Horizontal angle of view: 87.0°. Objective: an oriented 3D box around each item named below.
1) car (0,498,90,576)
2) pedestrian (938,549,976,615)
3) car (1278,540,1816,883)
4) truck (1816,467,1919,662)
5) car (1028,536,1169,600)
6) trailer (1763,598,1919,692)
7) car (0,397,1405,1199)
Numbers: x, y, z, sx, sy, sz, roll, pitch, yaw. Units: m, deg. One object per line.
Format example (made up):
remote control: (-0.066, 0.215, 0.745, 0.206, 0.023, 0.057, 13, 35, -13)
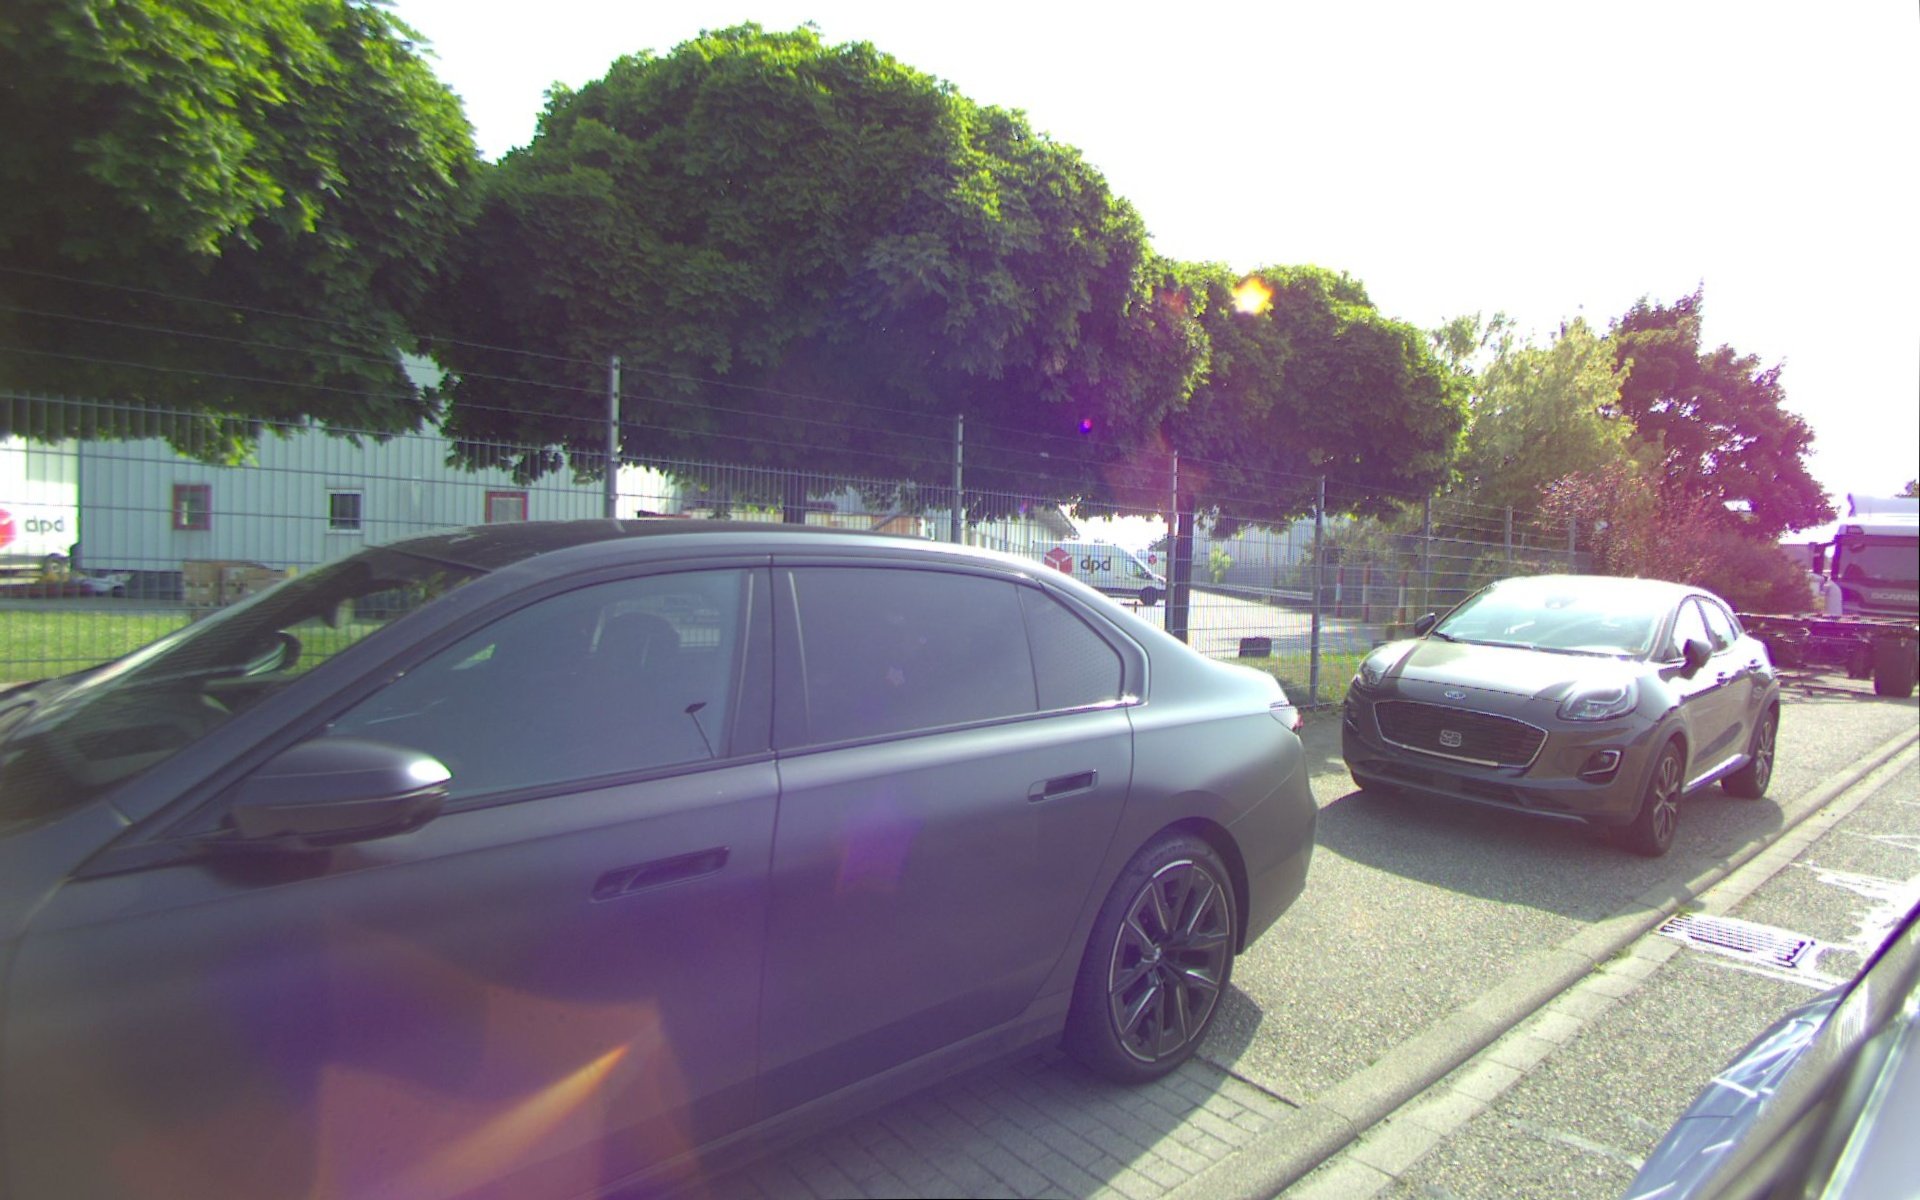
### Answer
car: (-32.447, -2.072, 32.801, 2.138, 2.548, 6.687, 1, 2, 8)
pedestrian: (-0.072, -0.500, 27.581, 0.847, 1.743, 0.628, 2, 1, 18)
car: (4.170, 0.480, 6.930, 4.041, 1.592, 1.885, -1, 5, -41)
truck: (21.875, -0.746, 23.051, 5.945, 4.012, 2.697, 0, 4, -43)
car: (6.290, -1.475, 46.269, 6.169, 2.681, 2.208, 2, 1, 9)
trailer: (16.193, 0.663, 17.857, 7.323, 1.250, 1.942, 0, 4, -42)
car: (-0.977, 0.478, 2.659, 5.028, 1.593, 1.885, -1, 4, -41)
